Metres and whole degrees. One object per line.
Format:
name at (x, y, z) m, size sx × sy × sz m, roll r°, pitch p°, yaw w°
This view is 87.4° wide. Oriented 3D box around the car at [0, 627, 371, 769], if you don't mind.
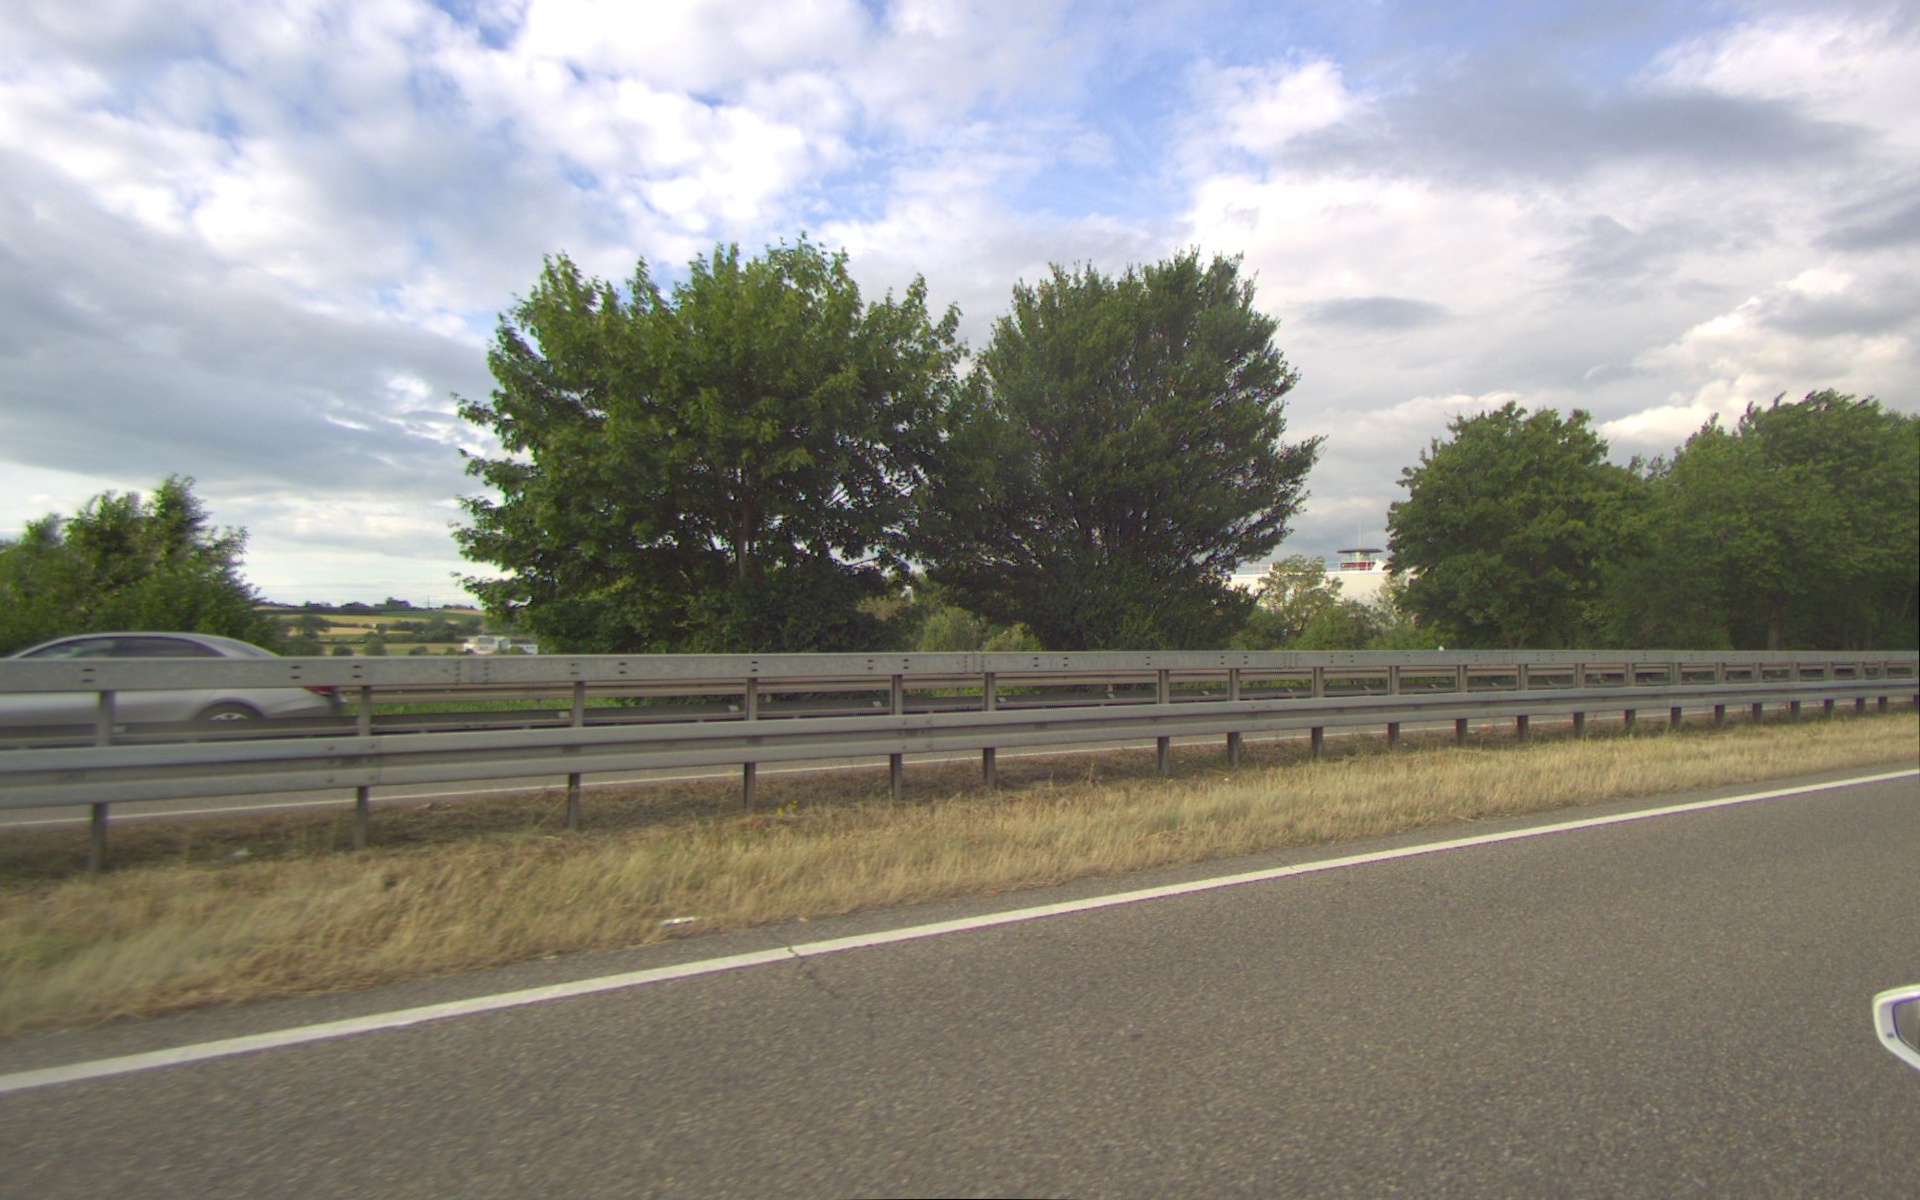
car at (-9.056, 0.988, 10.911) m, size 4.523 × 1.369 × 1.773 m, roll 2°, pitch -2°, yaw -30°
